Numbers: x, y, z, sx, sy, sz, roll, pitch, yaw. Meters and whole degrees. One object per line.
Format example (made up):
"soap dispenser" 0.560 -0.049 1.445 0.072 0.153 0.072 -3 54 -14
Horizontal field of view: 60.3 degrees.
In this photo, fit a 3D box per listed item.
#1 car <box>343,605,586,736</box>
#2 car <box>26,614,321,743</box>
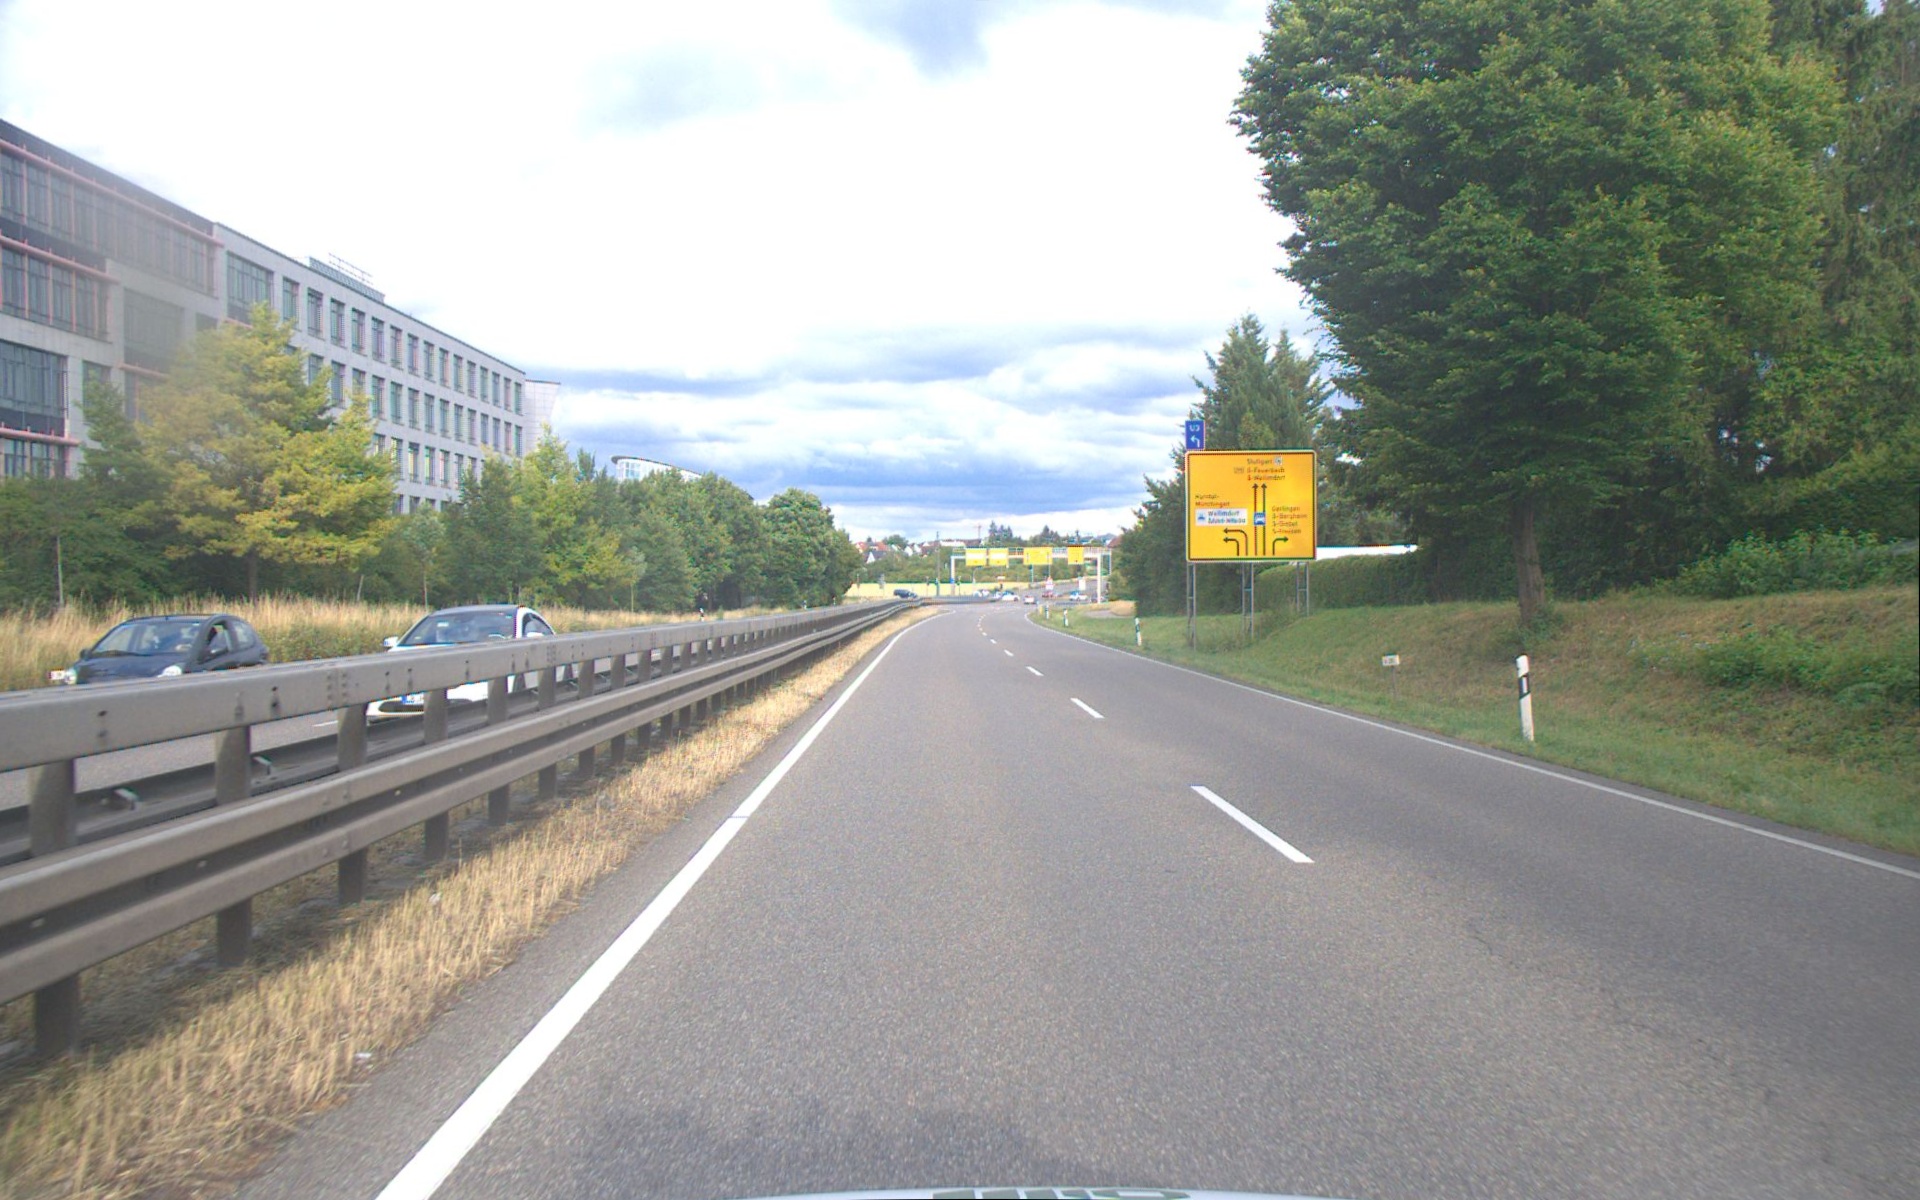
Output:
"car" -6.143 0.806 21.078 1.798 1.403 4.565 -2 0 -2
"car" -10.194 0.947 21.869 1.721 1.447 4.566 -1 0 0
